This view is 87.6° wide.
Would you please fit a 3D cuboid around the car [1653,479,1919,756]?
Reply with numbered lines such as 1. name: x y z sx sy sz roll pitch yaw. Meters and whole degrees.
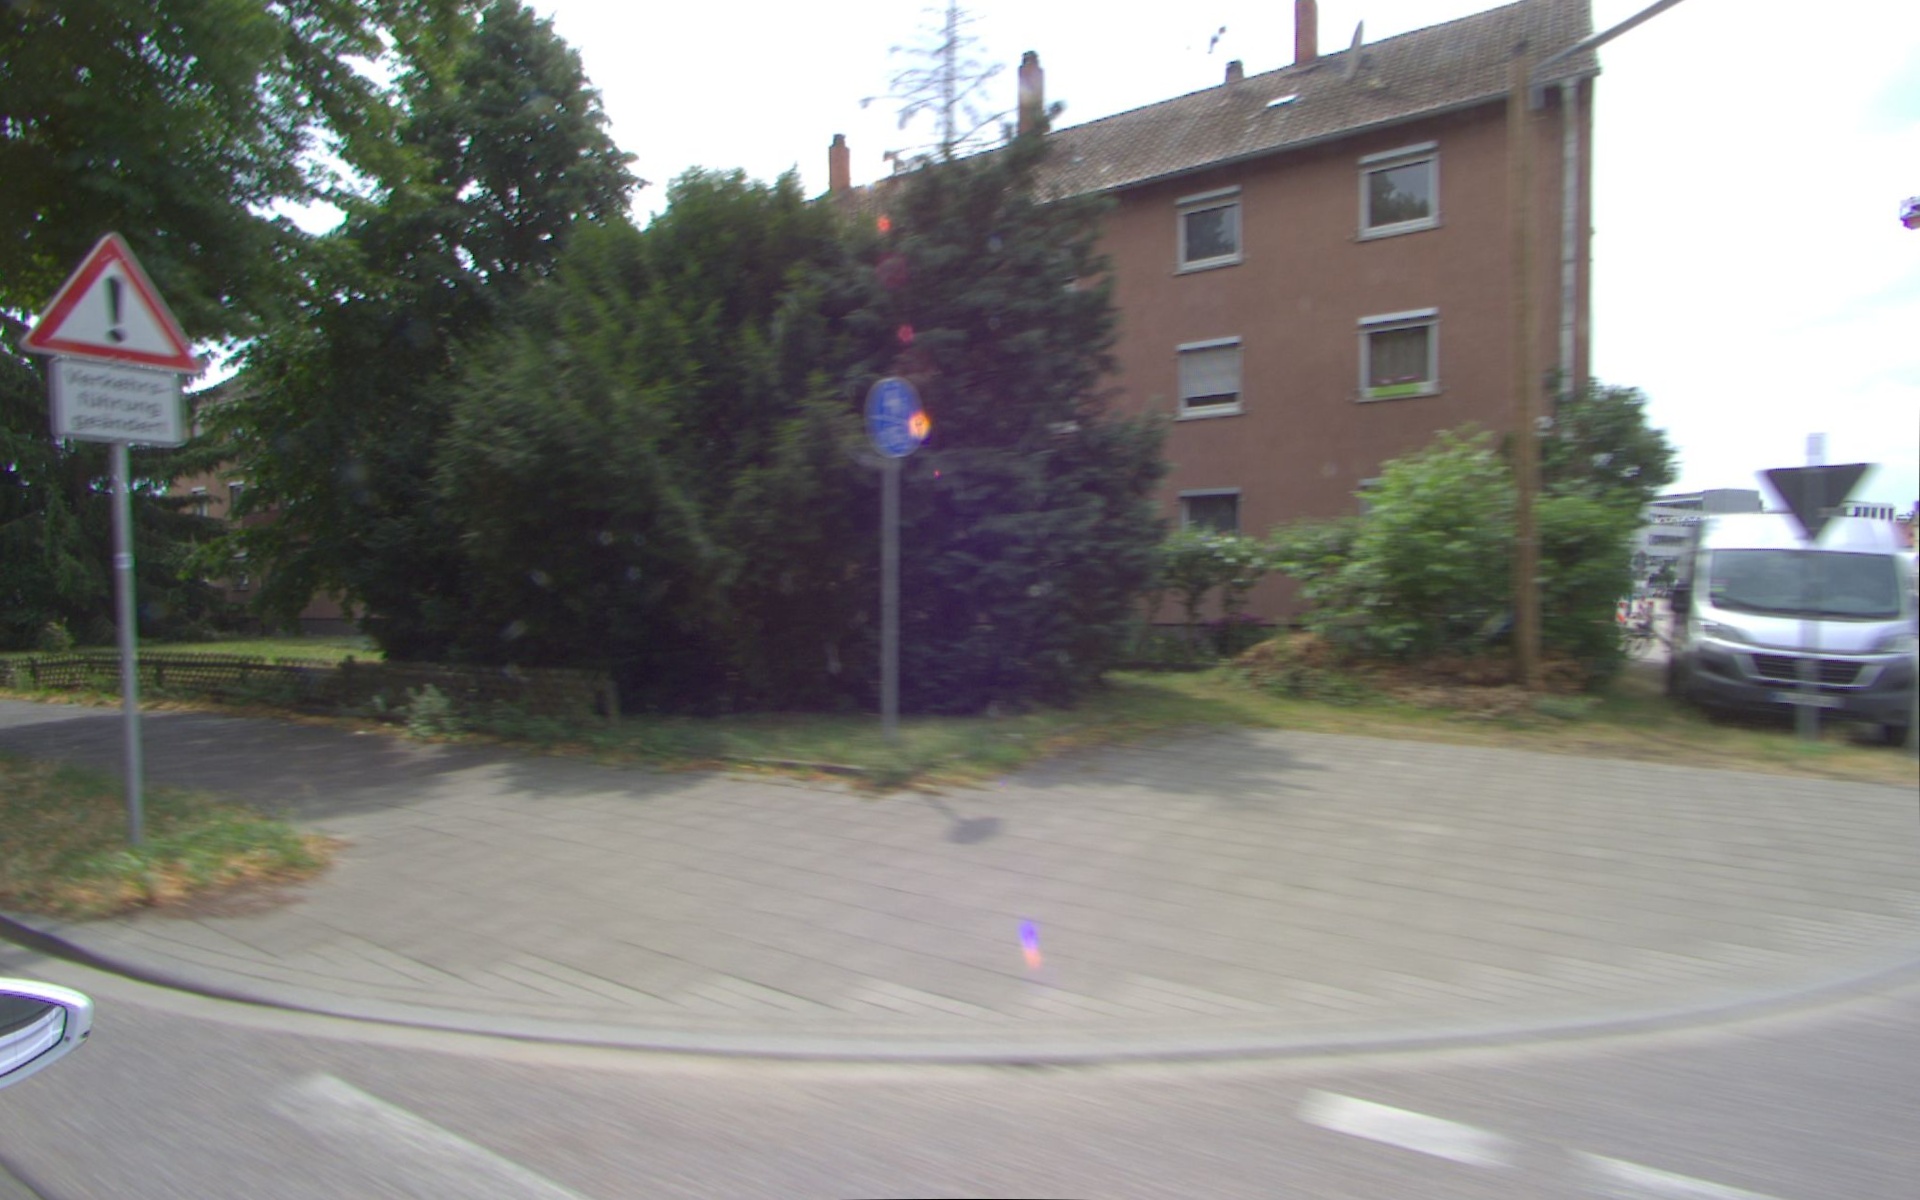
1. car: 10.096 0.096 12.349 2.302 2.669 5.457 3 3 33

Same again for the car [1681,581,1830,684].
1. car: 15.666 0.533 19.932 1.874 1.743 4.183 3 3 33

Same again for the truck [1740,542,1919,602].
1. truck: 65.144 -2.077 75.198 10.155 4.190 3.320 0 3 44
